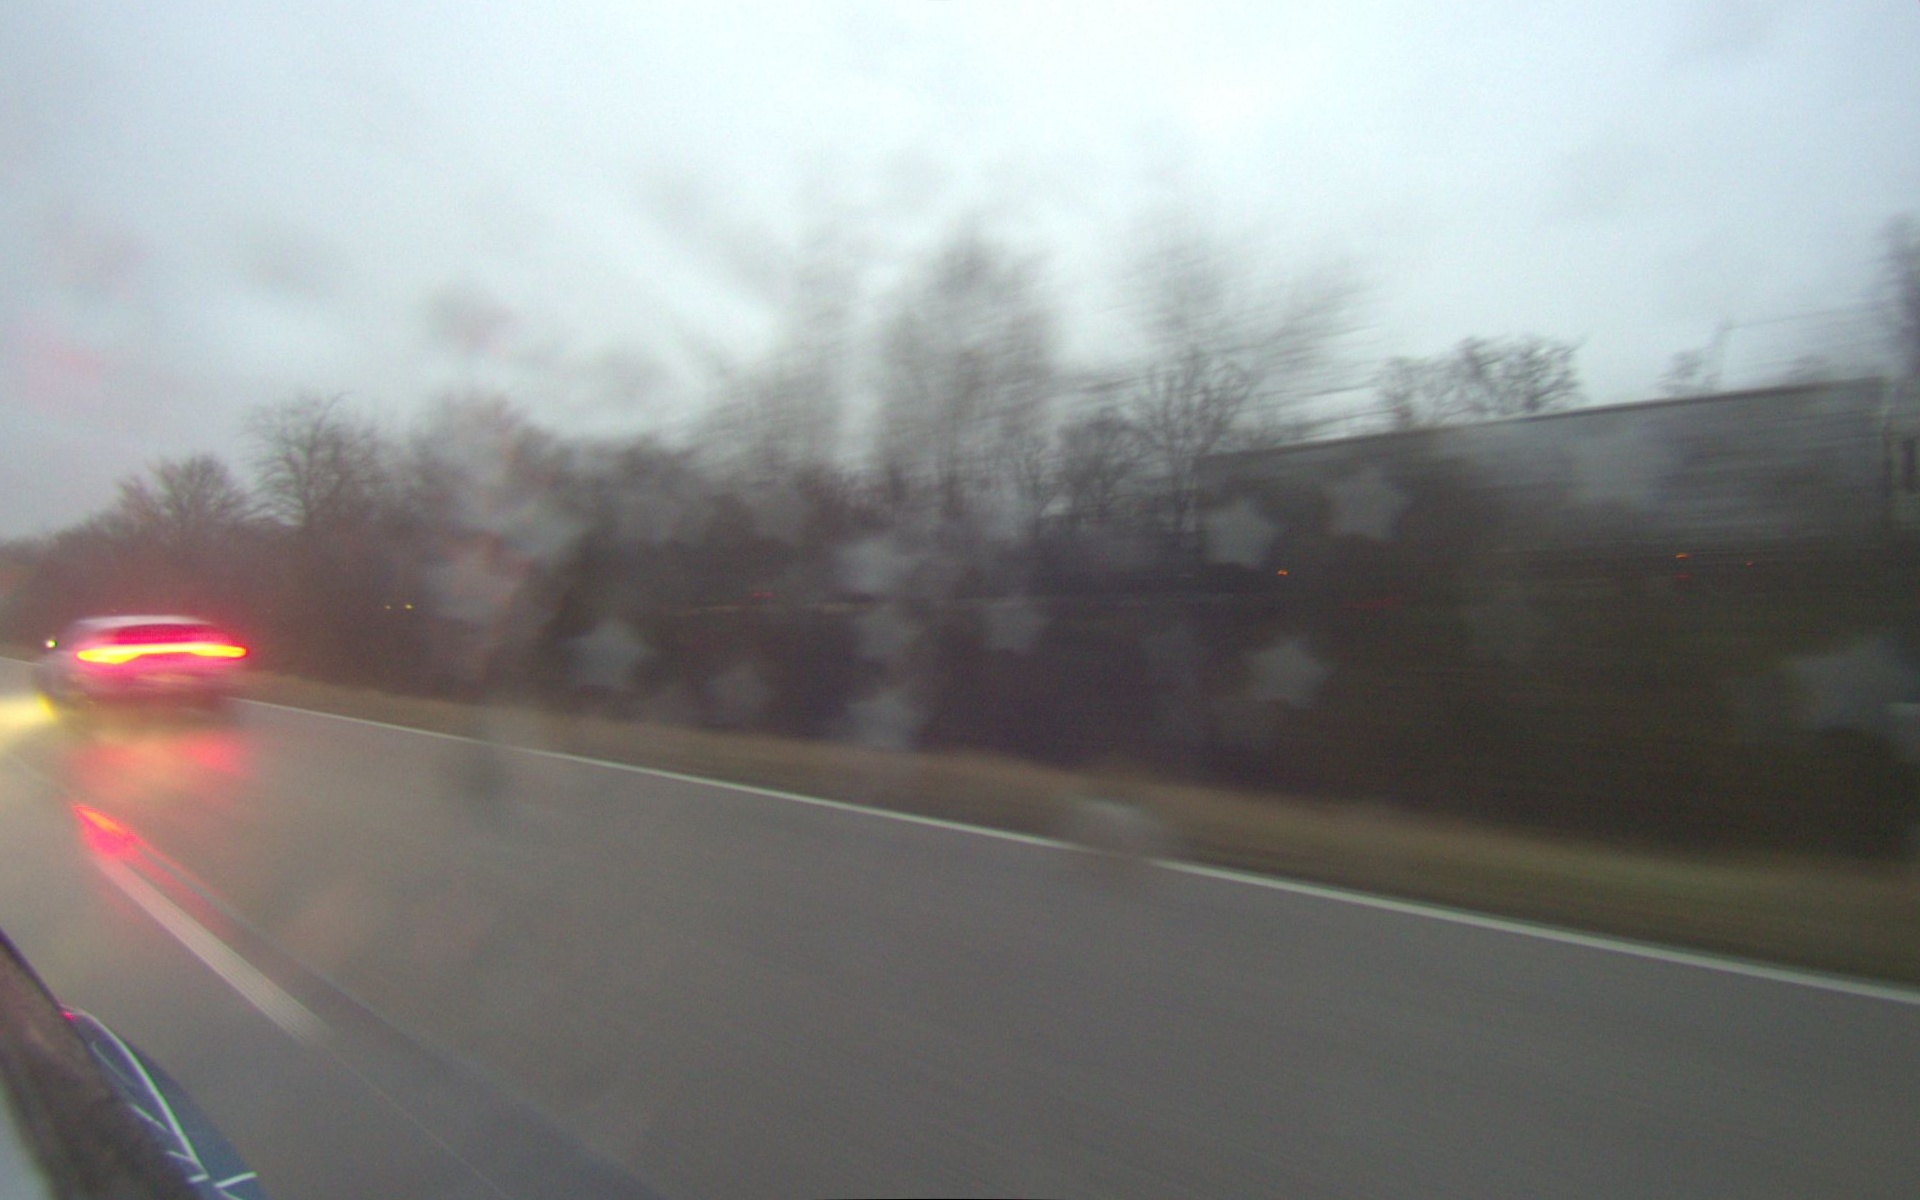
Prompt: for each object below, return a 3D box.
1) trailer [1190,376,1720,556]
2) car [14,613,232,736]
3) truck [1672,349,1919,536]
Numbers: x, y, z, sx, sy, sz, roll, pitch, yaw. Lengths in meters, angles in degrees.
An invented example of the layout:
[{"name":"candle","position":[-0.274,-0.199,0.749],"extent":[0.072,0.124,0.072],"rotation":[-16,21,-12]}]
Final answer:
[{"name":"trailer","position":[11.033,-2.777,24.043],"extent":[11.080,2.913,2.410],"rotation":[-1,-1,41]},{"name":"car","position":[-12.394,0.989,14.880],"extent":[4.406,1.548,1.789],"rotation":[-1,-2,41]},{"name":"truck","position":[16.863,-2.877,18.931],"extent":[5.580,2.909,2.424],"rotation":[-1,-1,41]}]
